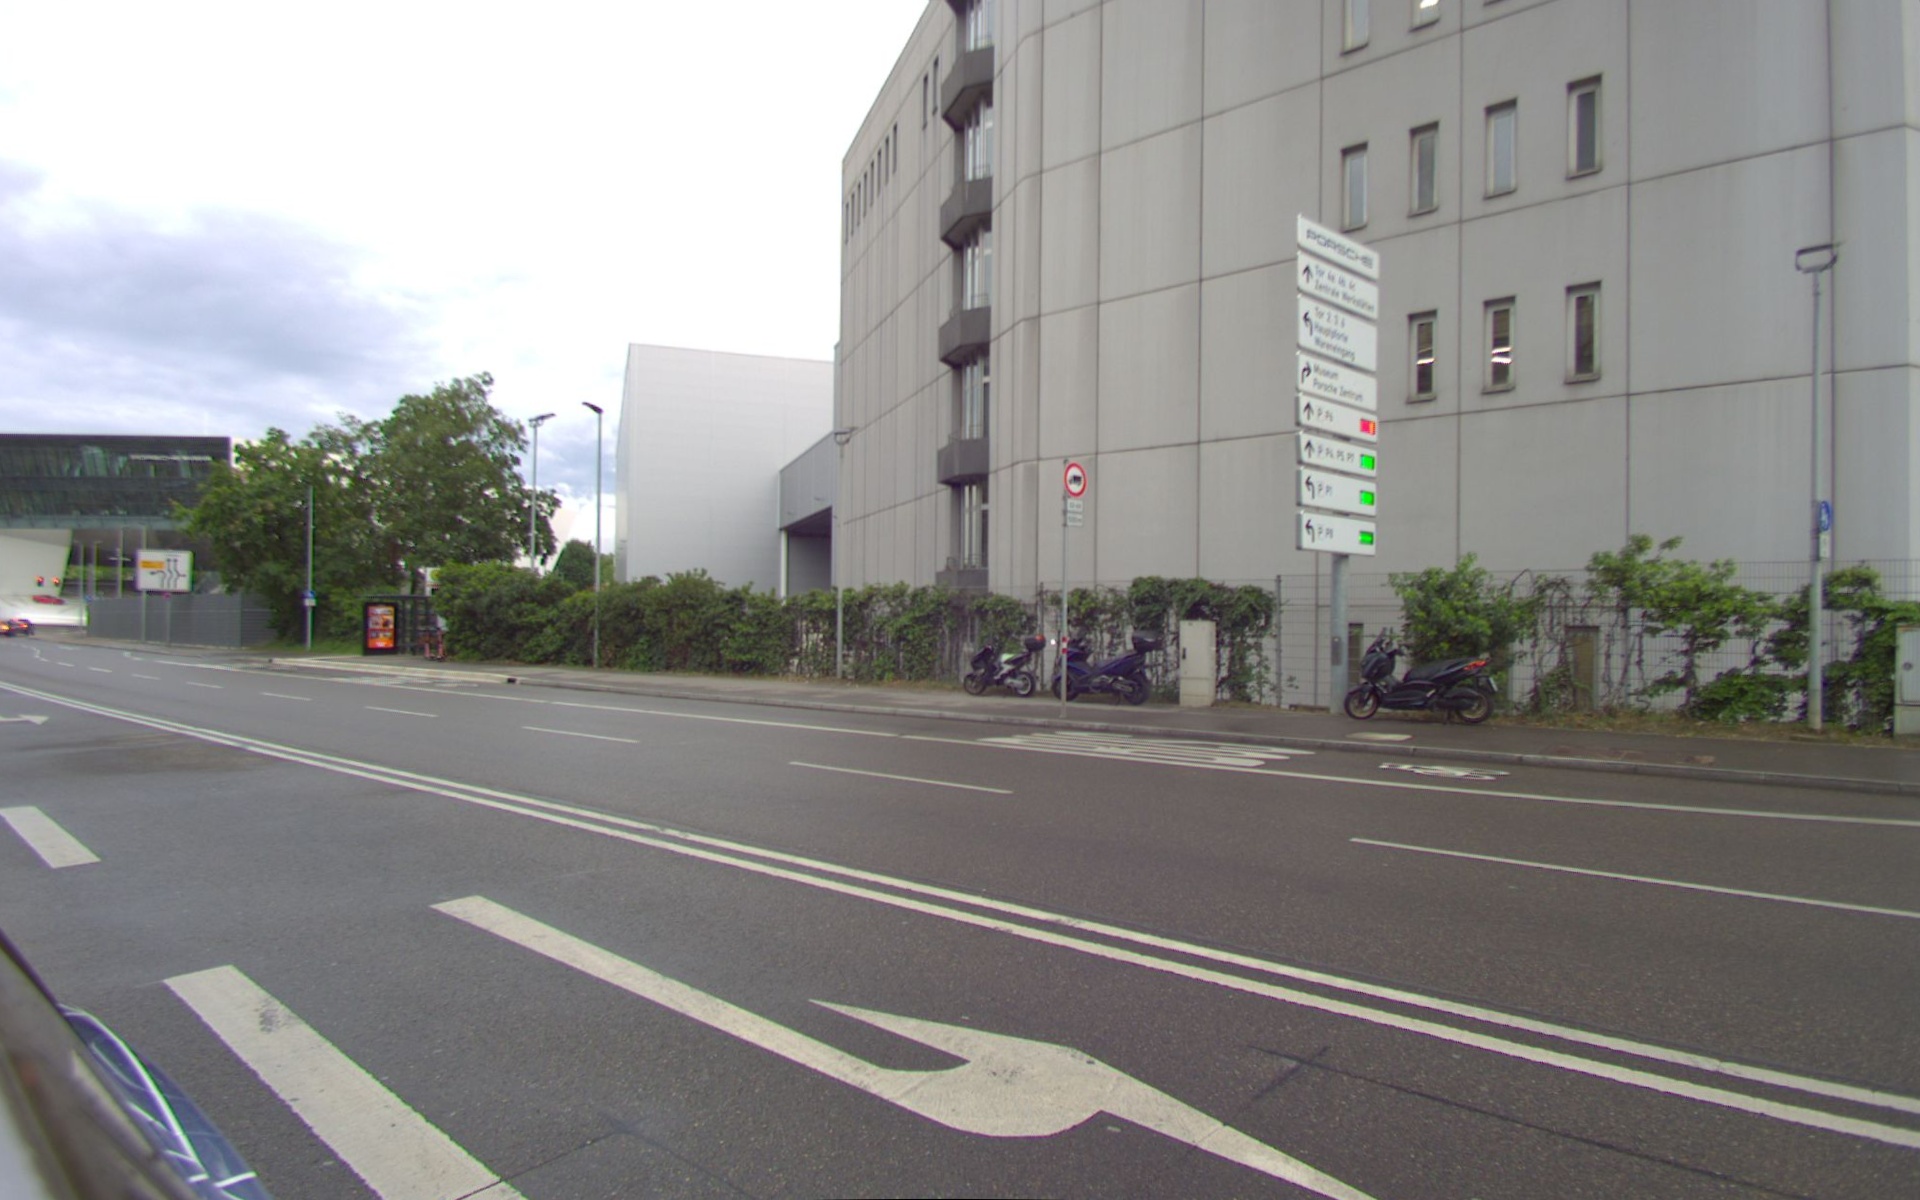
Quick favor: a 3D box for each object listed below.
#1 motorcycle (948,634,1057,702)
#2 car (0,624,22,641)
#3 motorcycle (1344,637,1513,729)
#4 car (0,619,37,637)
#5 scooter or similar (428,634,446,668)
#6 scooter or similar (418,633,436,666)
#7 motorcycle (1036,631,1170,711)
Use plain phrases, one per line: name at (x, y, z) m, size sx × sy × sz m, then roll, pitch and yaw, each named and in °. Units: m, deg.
motorcycle at (0.832, 1.327, 20.240) m, size 2.156 × 1.260 × 0.776 m, roll -1°, pitch -2°, yaw 40°
car at (-84.176, 2.855, 88.638) m, size 2.233 × 1.488 × 4.059 m, roll 1°, pitch -1°, yaw -32°
motorcycle at (6.923, 1.190, 15.030) m, size 2.156 × 1.257 × 0.776 m, roll -1°, pitch -2°, yaw 40°
car at (-88.312, 2.643, 94.845) m, size 1.834 × 1.663 × 3.799 m, roll 1°, pitch -2°, yaw -30°
scooter or similar at (-18.857, 1.831, 36.484) m, size 0.373 × 1.190 × 1.380 m, roll 1°, pitch -2°, yaw -36°
scooter or similar at (-19.798, 1.836, 37.586) m, size 0.383 × 1.189 × 1.253 m, roll 1°, pitch -2°, yaw -36°
motorcycle at (2.569, 1.260, 18.445) m, size 2.368 × 1.358 × 0.776 m, roll -1°, pitch -2°, yaw 40°
